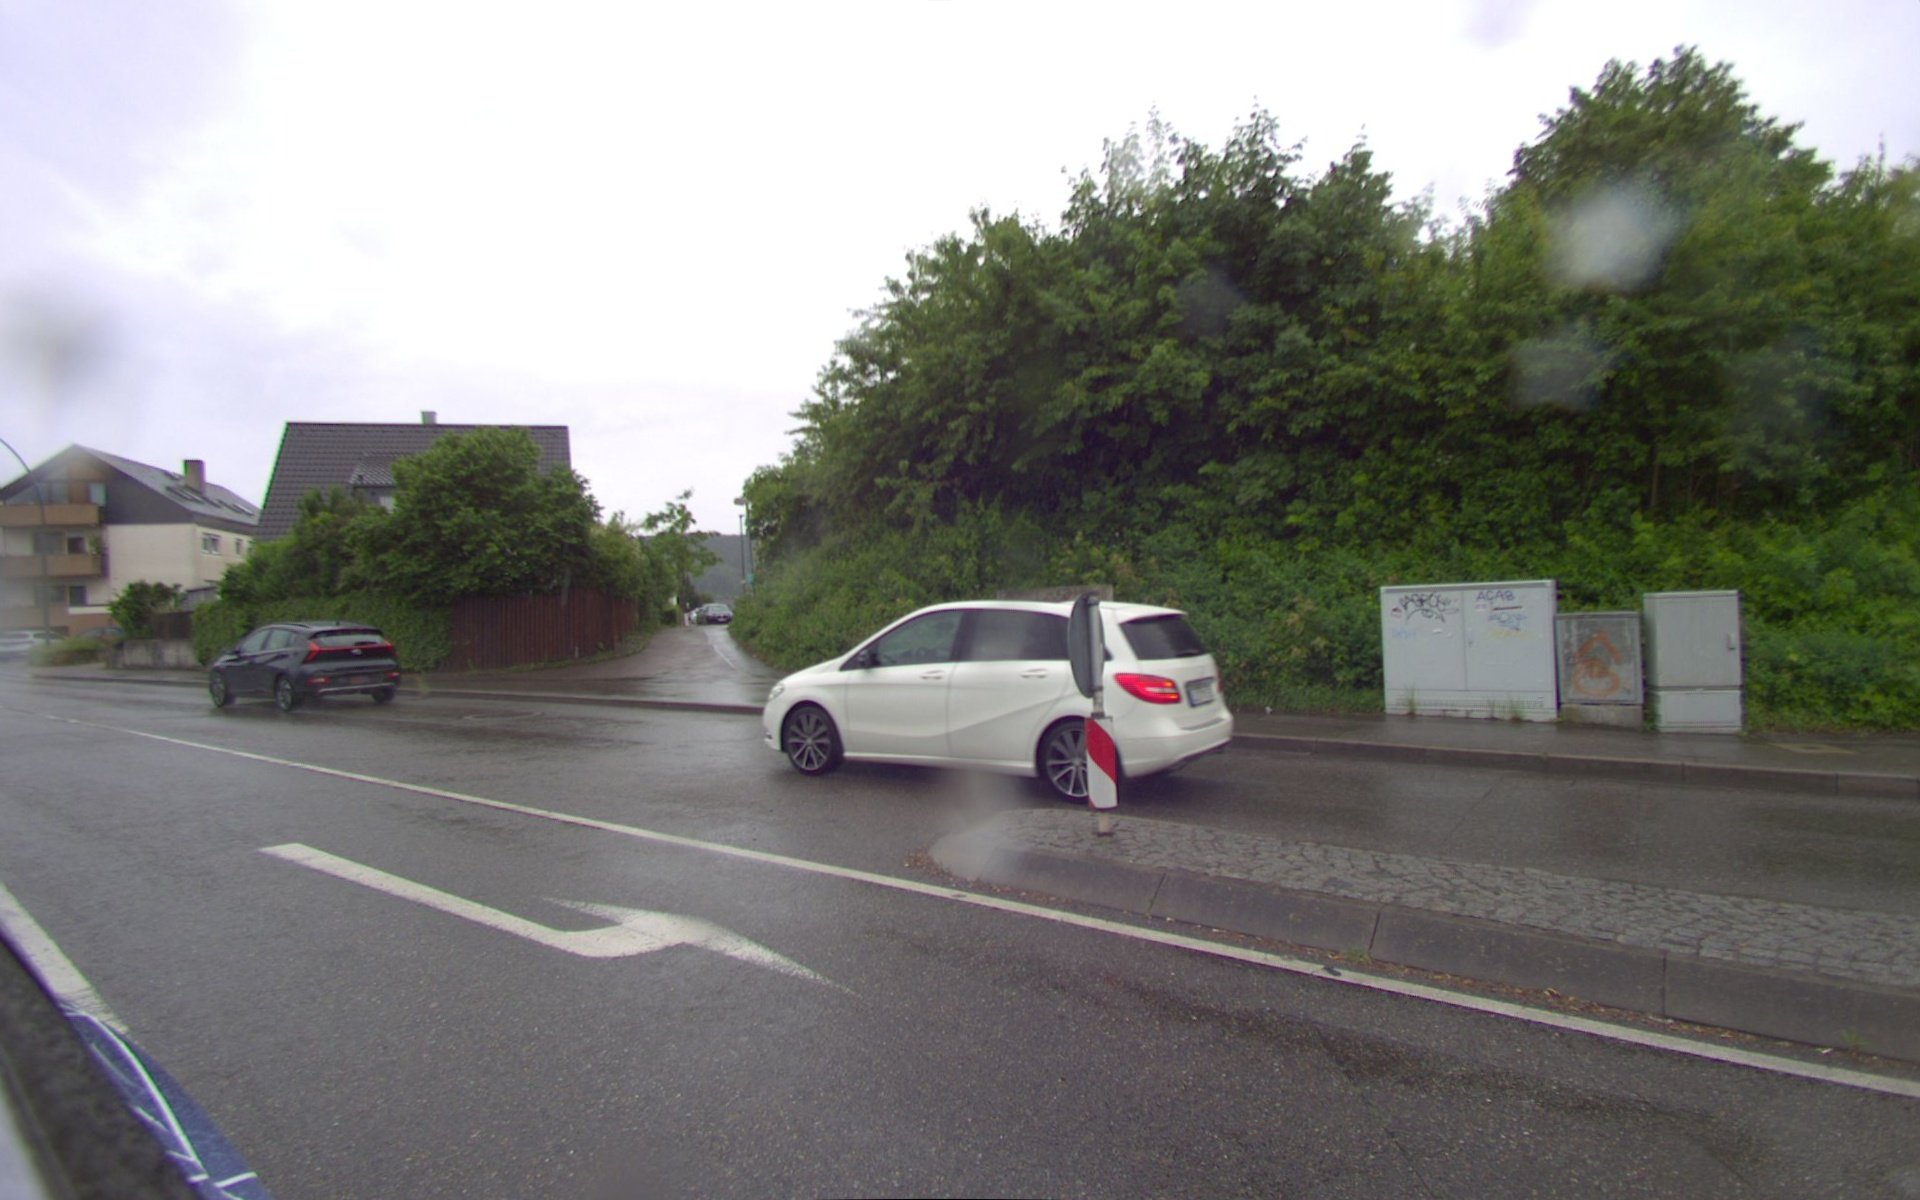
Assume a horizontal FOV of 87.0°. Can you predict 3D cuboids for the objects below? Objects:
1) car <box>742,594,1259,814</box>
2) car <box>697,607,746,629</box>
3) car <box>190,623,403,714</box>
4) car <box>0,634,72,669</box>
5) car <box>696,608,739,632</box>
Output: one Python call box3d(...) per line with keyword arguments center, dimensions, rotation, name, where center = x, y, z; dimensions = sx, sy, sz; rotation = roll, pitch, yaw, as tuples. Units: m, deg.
box3d(center=(0.234, 0.762, 8.879), dimensions=(4.309, 1.516, 1.651), rotation=(-1, -2, 33), name="car")
box3d(center=(-17.338, 1.330, 73.505), dimensions=(1.967, 1.497, 4.009), rotation=(-1, 0, -37), name="car")
box3d(center=(-11.827, 1.143, 17.984), dimensions=(4.095, 1.449, 1.651), rotation=(-1, -2, 33), name="car")
box3d(center=(-46.690, 2.540, 50.763), dimensions=(1.638, 1.558, 4.011), rotation=(-1, 0, -15), name="car")
box3d(center=(-15.854, 1.322, 65.949), dimensions=(1.867, 1.494, 4.013), rotation=(-1, -1, -26), name="car")
